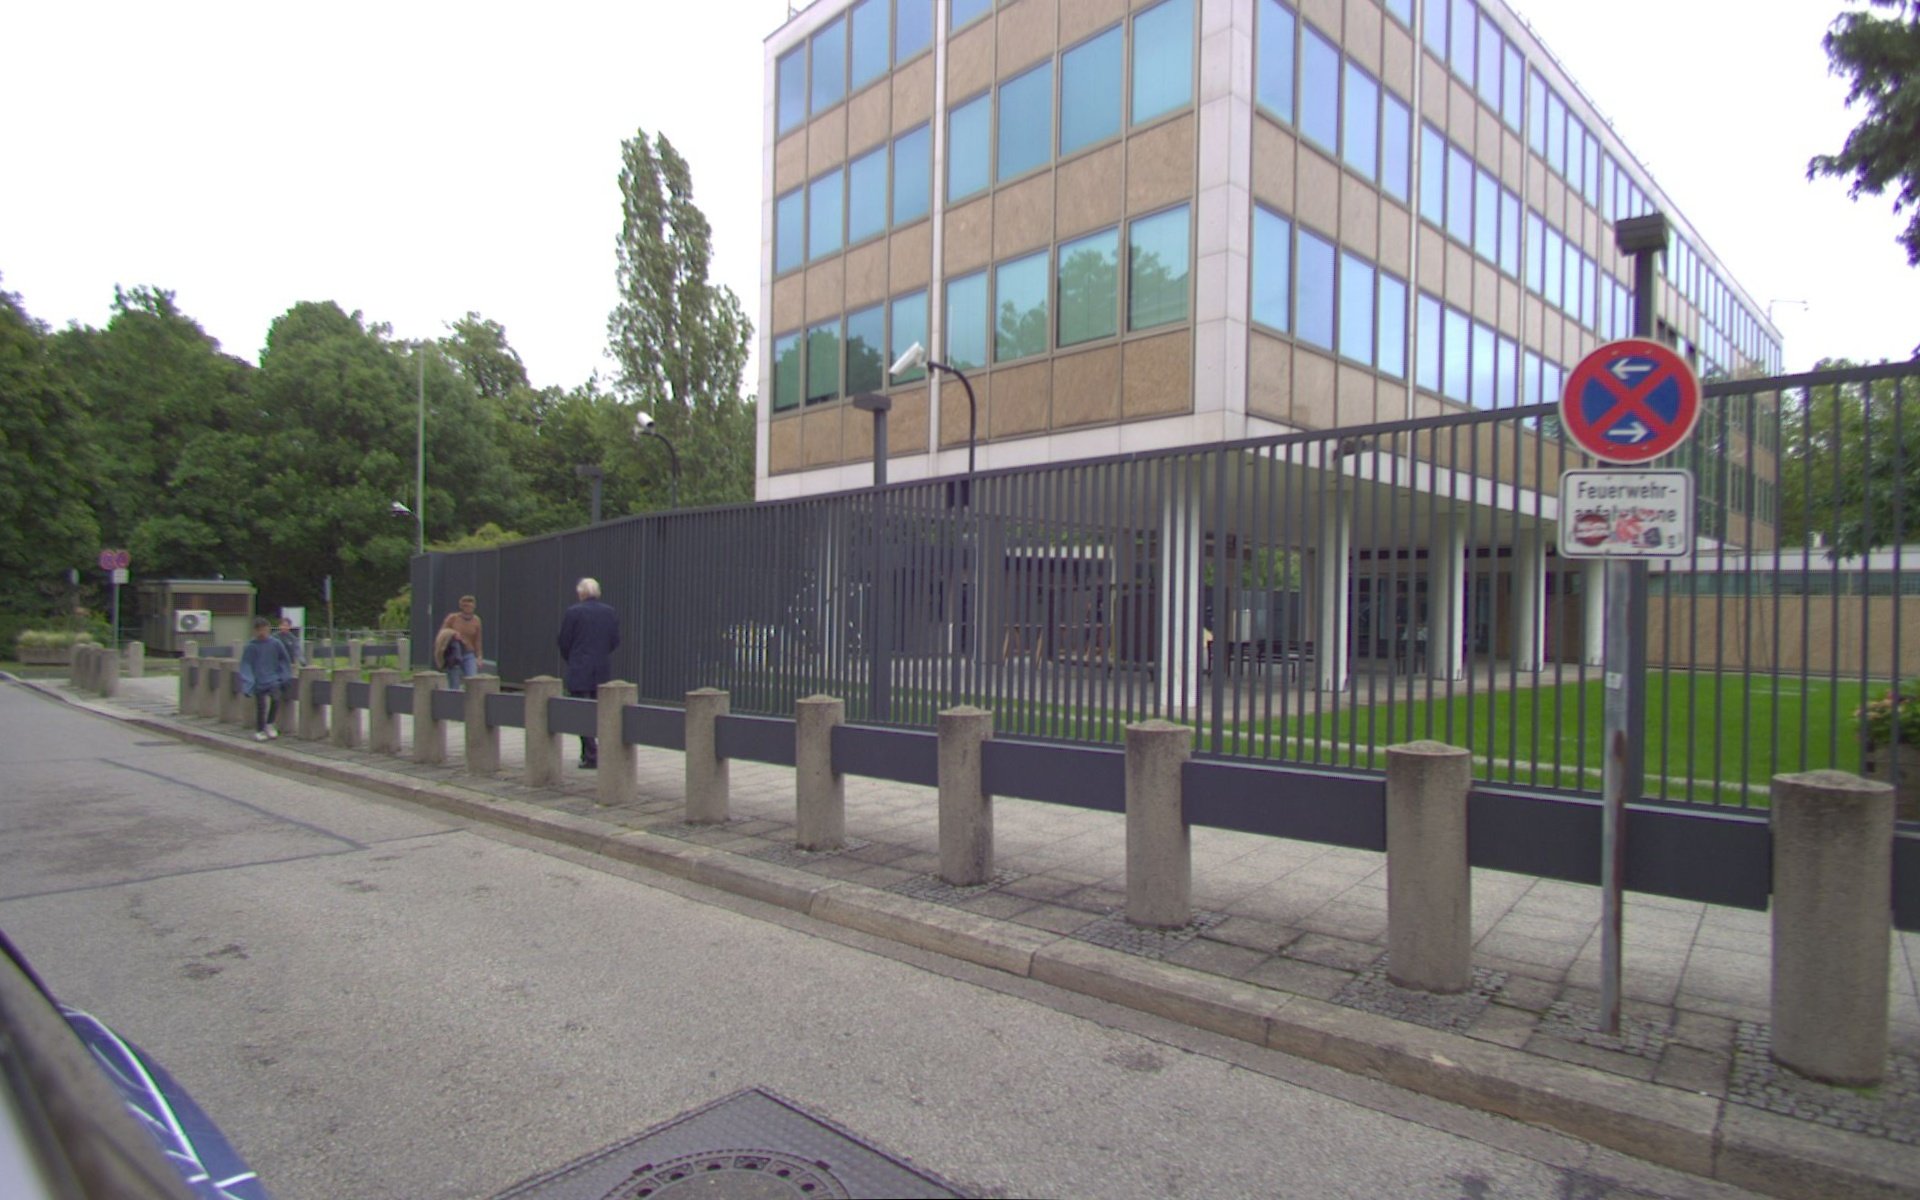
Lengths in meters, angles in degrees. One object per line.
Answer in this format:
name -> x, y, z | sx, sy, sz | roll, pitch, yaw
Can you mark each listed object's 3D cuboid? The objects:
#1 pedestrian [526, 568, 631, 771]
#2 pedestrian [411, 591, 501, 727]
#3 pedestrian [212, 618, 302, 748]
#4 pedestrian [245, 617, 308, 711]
pedestrian -> -3.532, 0.619, 9.375 | 0.766, 1.782, 0.617 | -1, -1, 40
pedestrian -> -6.795, 0.758, 13.636 | 0.814, 1.736, 0.906 | -2, 1, -44
pedestrian -> -8.559, 0.973, 12.310 | 1.078, 1.478, 0.631 | -1, 1, 41
pedestrian -> -11.851, 1.078, 17.538 | 0.768, 1.551, 0.934 | -2, 1, -41
